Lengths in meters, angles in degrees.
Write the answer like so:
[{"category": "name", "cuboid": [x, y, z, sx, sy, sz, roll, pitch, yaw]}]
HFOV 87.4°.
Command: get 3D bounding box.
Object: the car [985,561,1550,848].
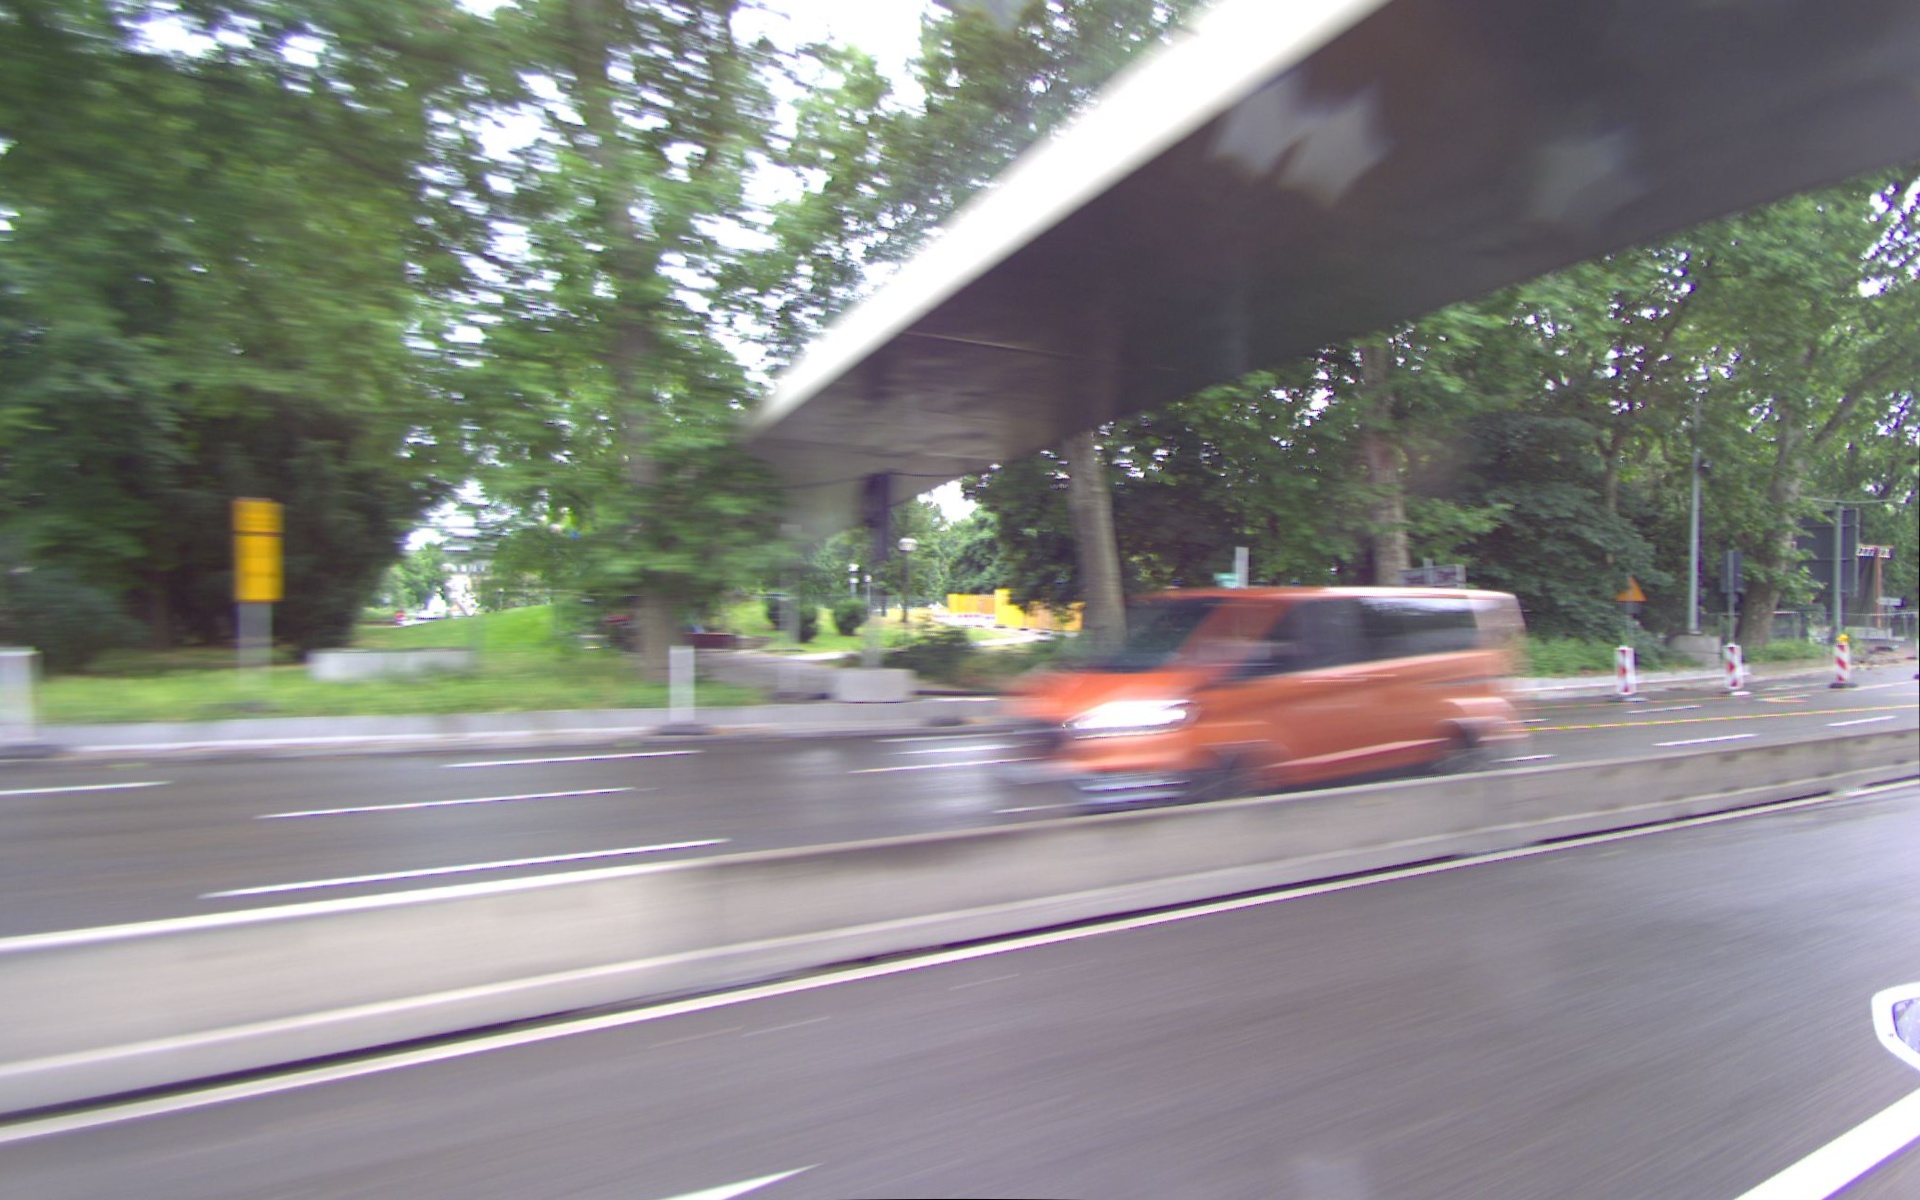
[{"category": "car", "cuboid": [2.869, 0.849, 9.036, 4.985, 1.961, 2.022, 2, -4, -30]}]
